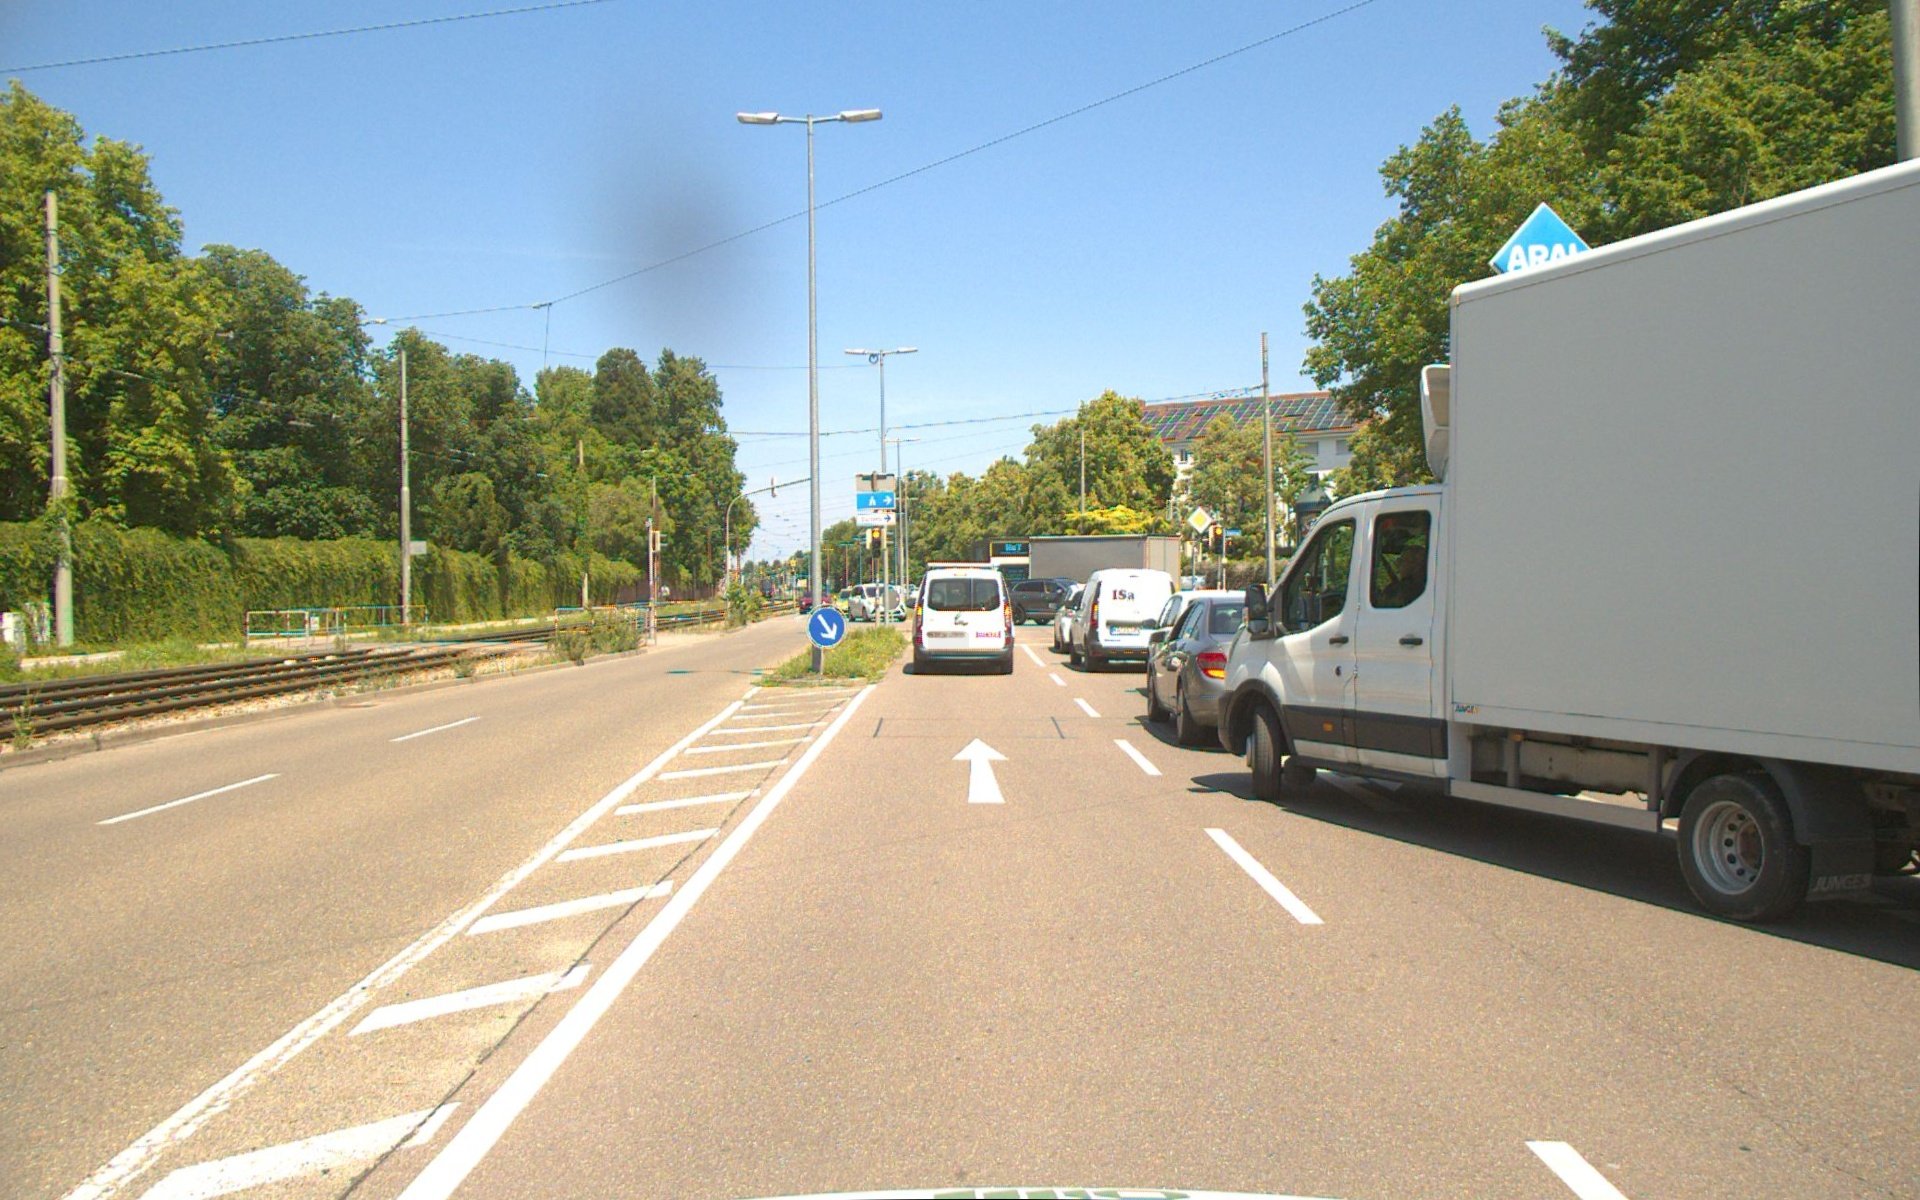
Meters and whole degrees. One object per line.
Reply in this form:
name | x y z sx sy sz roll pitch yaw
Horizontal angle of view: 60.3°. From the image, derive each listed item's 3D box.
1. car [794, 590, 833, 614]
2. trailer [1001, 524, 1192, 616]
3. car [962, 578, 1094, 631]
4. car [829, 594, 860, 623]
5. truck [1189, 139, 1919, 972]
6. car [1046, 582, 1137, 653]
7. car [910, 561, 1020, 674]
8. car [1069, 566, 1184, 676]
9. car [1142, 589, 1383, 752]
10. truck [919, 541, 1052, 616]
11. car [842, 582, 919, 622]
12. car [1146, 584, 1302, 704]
car | -8.991 0.111 102.117 1.943 1.382 4.539 -1 0 1
trailer | 6.375 -1.355 78.374 8.825 4.121 3.515 0 0 45
car | 2.476 0.154 59.939 4.428 1.861 2.002 -1 0 15
car | -5.845 0.399 83.901 1.508 1.403 3.999 -1 0 -4
truck | 4.238 -0.203 9.645 2.384 3.451 7.787 -1 0 -20
car | 2.970 0.372 38.101 1.720 1.512 4.000 -1 0 -1
car | 0.047 0.278 29.490 1.829 1.868 3.848 0 0 -1
car | 2.986 0.355 30.317 1.675 1.862 4.013 -1 0 0
car | 3.016 0.637 17.376 1.759 1.475 4.418 -1 0 0
truck | 1.183 -1.072 85.556 3.530 3.696 8.742 -1 0 -24
car | -3.473 0.067 71.635 1.967 1.645 4.424 -1 0 -23
car | 3.530 0.562 22.626 1.574 1.477 3.521 1 0 0
